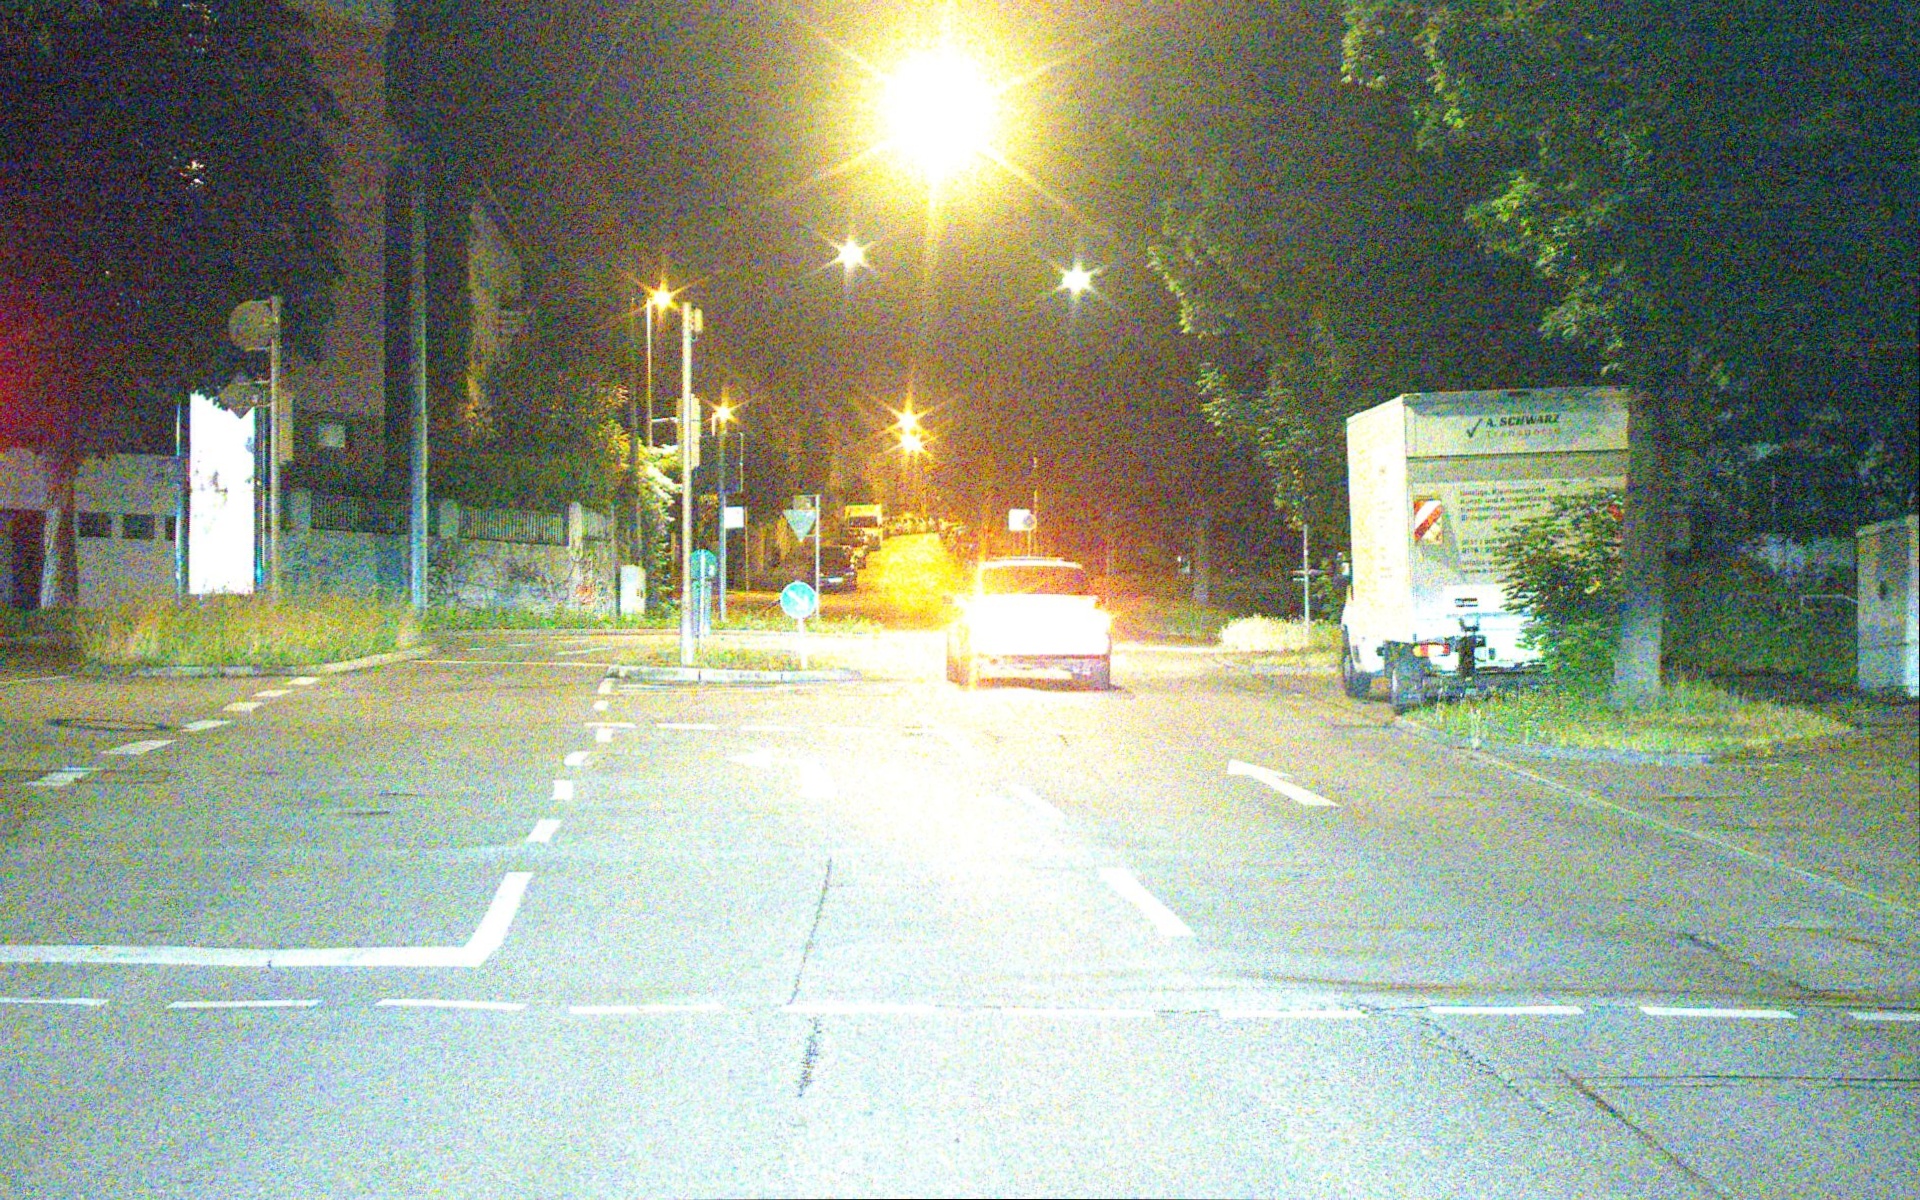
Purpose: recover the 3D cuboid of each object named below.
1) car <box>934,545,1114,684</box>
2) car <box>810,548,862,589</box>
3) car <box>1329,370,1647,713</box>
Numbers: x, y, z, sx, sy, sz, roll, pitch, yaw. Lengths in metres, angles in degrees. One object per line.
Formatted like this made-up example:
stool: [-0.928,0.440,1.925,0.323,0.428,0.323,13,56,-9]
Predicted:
car: [0.677,0.137,39.256,1.776,1.481,4.000,1,1,-3]
car: [-4.839,-1.250,134.357,1.908,1.552,3.904,1,1,-1]
car: [5.121,-0.566,34.227,2.297,3.082,5.840,-1,1,1]
